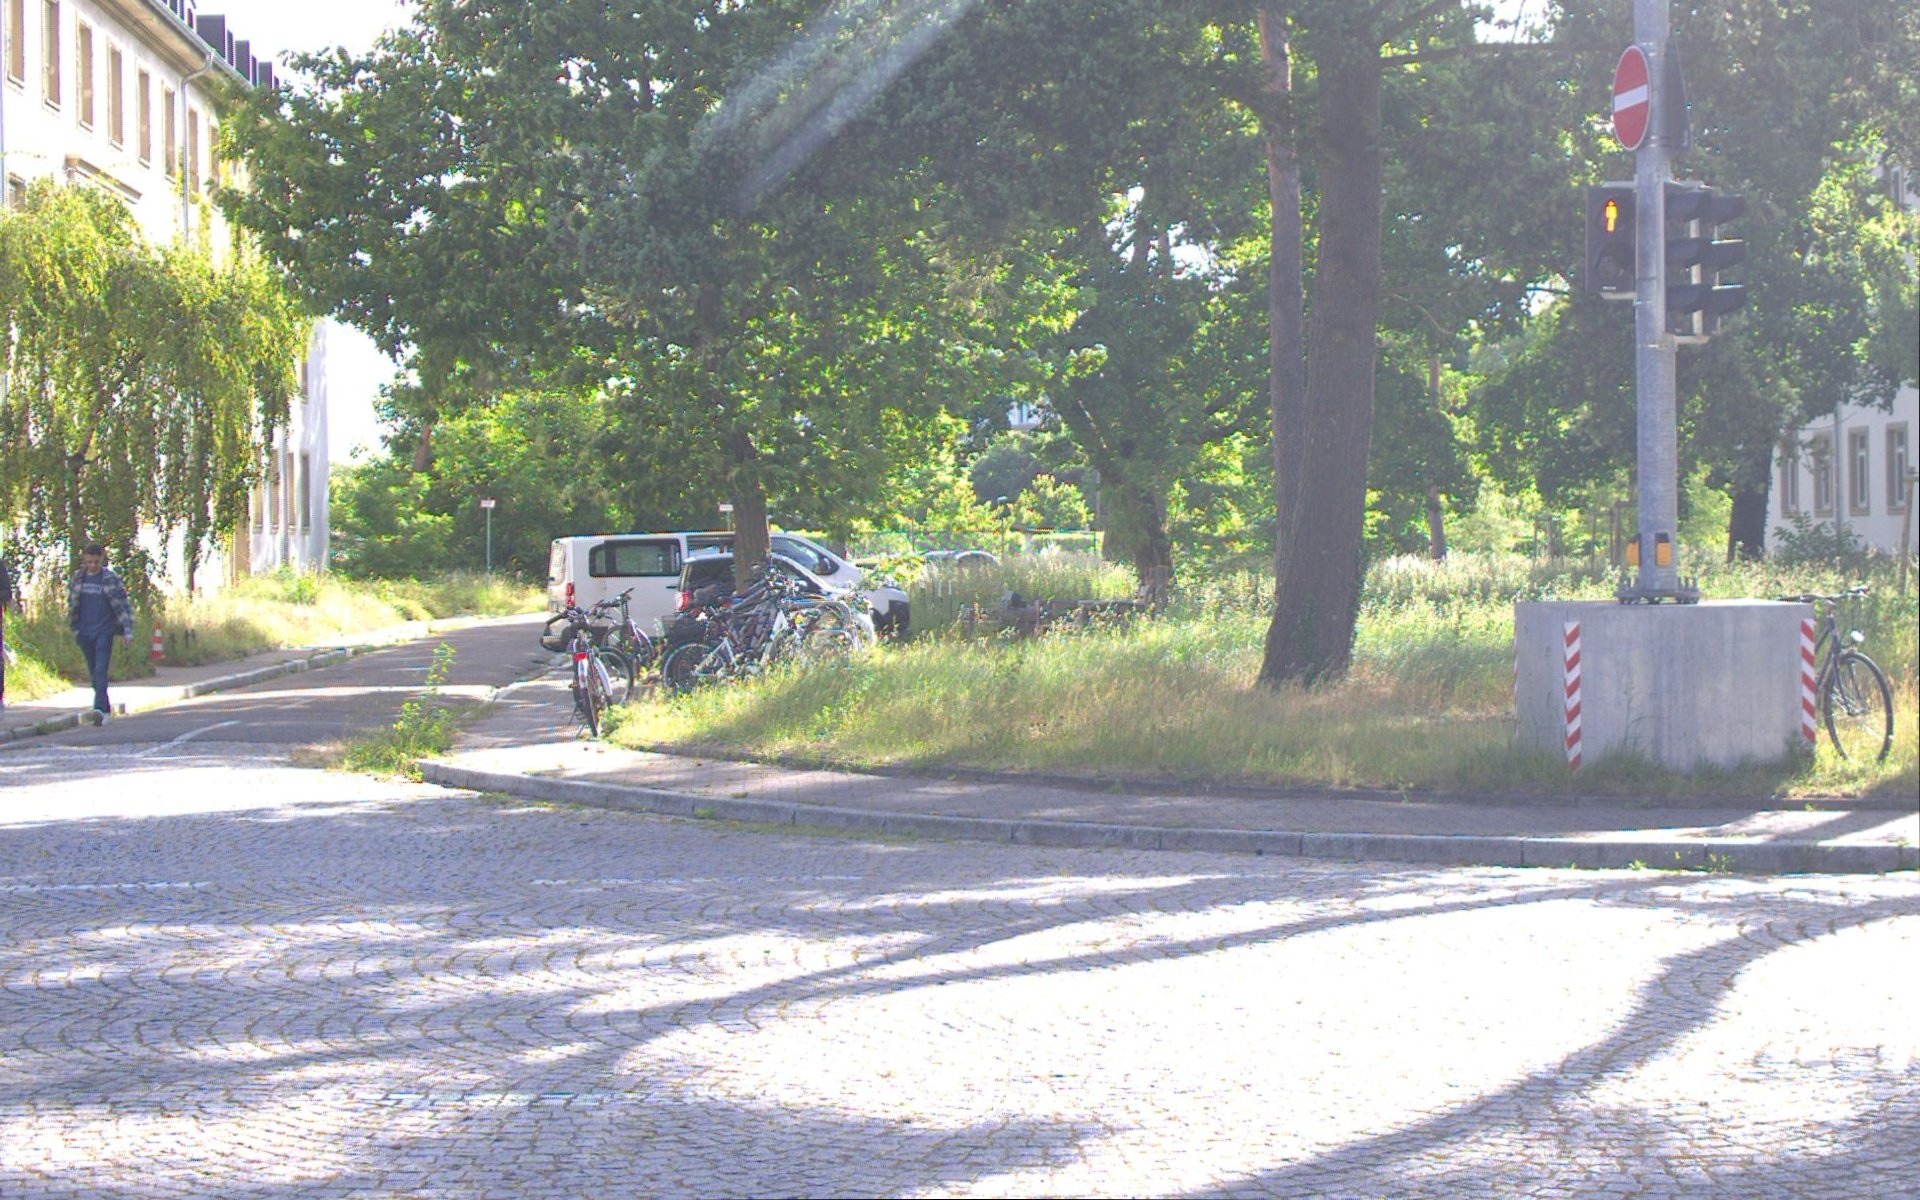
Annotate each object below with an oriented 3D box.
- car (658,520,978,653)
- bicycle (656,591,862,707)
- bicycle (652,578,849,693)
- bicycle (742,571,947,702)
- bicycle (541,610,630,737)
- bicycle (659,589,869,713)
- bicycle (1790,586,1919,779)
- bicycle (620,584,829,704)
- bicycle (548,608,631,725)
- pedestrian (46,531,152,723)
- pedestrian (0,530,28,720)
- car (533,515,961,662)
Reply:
[{"bbox_3d":[-1.907,-0.195,45.521,3.986,1.678,1.848,-1,1,-11],"label":"car"},{"bbox_3d":[-1.867,0.444,31.761,1.854,1.027,0.750,-1,1,-6],"label":"bicycle"},{"bbox_3d":[-2.130,0.354,34.861,1.940,1.125,0.648,-1,1,-8],"label":"bicycle"},{"bbox_3d":[-1.126,0.345,33.294,1.940,1.231,0.485,-1,1,-6],"label":"bicycle"},{"bbox_3d":[-3.061,0.587,28.217,0.695,0.968,1.861,0,1,-5],"label":"bicycle"},{"bbox_3d":[-1.865,0.475,32.562,1.940,1.125,0.750,-1,1,-6],"label":"bicycle"},{"bbox_3d":[5.198,0.461,19.961,0.466,1.076,1.174,-1,0,0],"label":"bicycle"},{"bbox_3d":[-2.307,0.416,33.751,1.941,1.125,0.648,-1,1,-30],"label":"bicycle"},{"bbox_3d":[-3.237,0.567,30.158,0.695,0.968,1.861,0,1,-5],"label":"bicycle"},{"bbox_3d":[-8.243,0.252,32.926,0.767,1.811,0.682,-1,1,8],"label":"pedestrian"},{"bbox_3d":[-9.469,0.240,33.051,0.812,1.811,0.555,-1,1,8],"label":"pedestrian"},{"bbox_3d":[-3.125,-0.188,49.800,5.929,2.007,2.476,-1,1,-10],"label":"car"}]
